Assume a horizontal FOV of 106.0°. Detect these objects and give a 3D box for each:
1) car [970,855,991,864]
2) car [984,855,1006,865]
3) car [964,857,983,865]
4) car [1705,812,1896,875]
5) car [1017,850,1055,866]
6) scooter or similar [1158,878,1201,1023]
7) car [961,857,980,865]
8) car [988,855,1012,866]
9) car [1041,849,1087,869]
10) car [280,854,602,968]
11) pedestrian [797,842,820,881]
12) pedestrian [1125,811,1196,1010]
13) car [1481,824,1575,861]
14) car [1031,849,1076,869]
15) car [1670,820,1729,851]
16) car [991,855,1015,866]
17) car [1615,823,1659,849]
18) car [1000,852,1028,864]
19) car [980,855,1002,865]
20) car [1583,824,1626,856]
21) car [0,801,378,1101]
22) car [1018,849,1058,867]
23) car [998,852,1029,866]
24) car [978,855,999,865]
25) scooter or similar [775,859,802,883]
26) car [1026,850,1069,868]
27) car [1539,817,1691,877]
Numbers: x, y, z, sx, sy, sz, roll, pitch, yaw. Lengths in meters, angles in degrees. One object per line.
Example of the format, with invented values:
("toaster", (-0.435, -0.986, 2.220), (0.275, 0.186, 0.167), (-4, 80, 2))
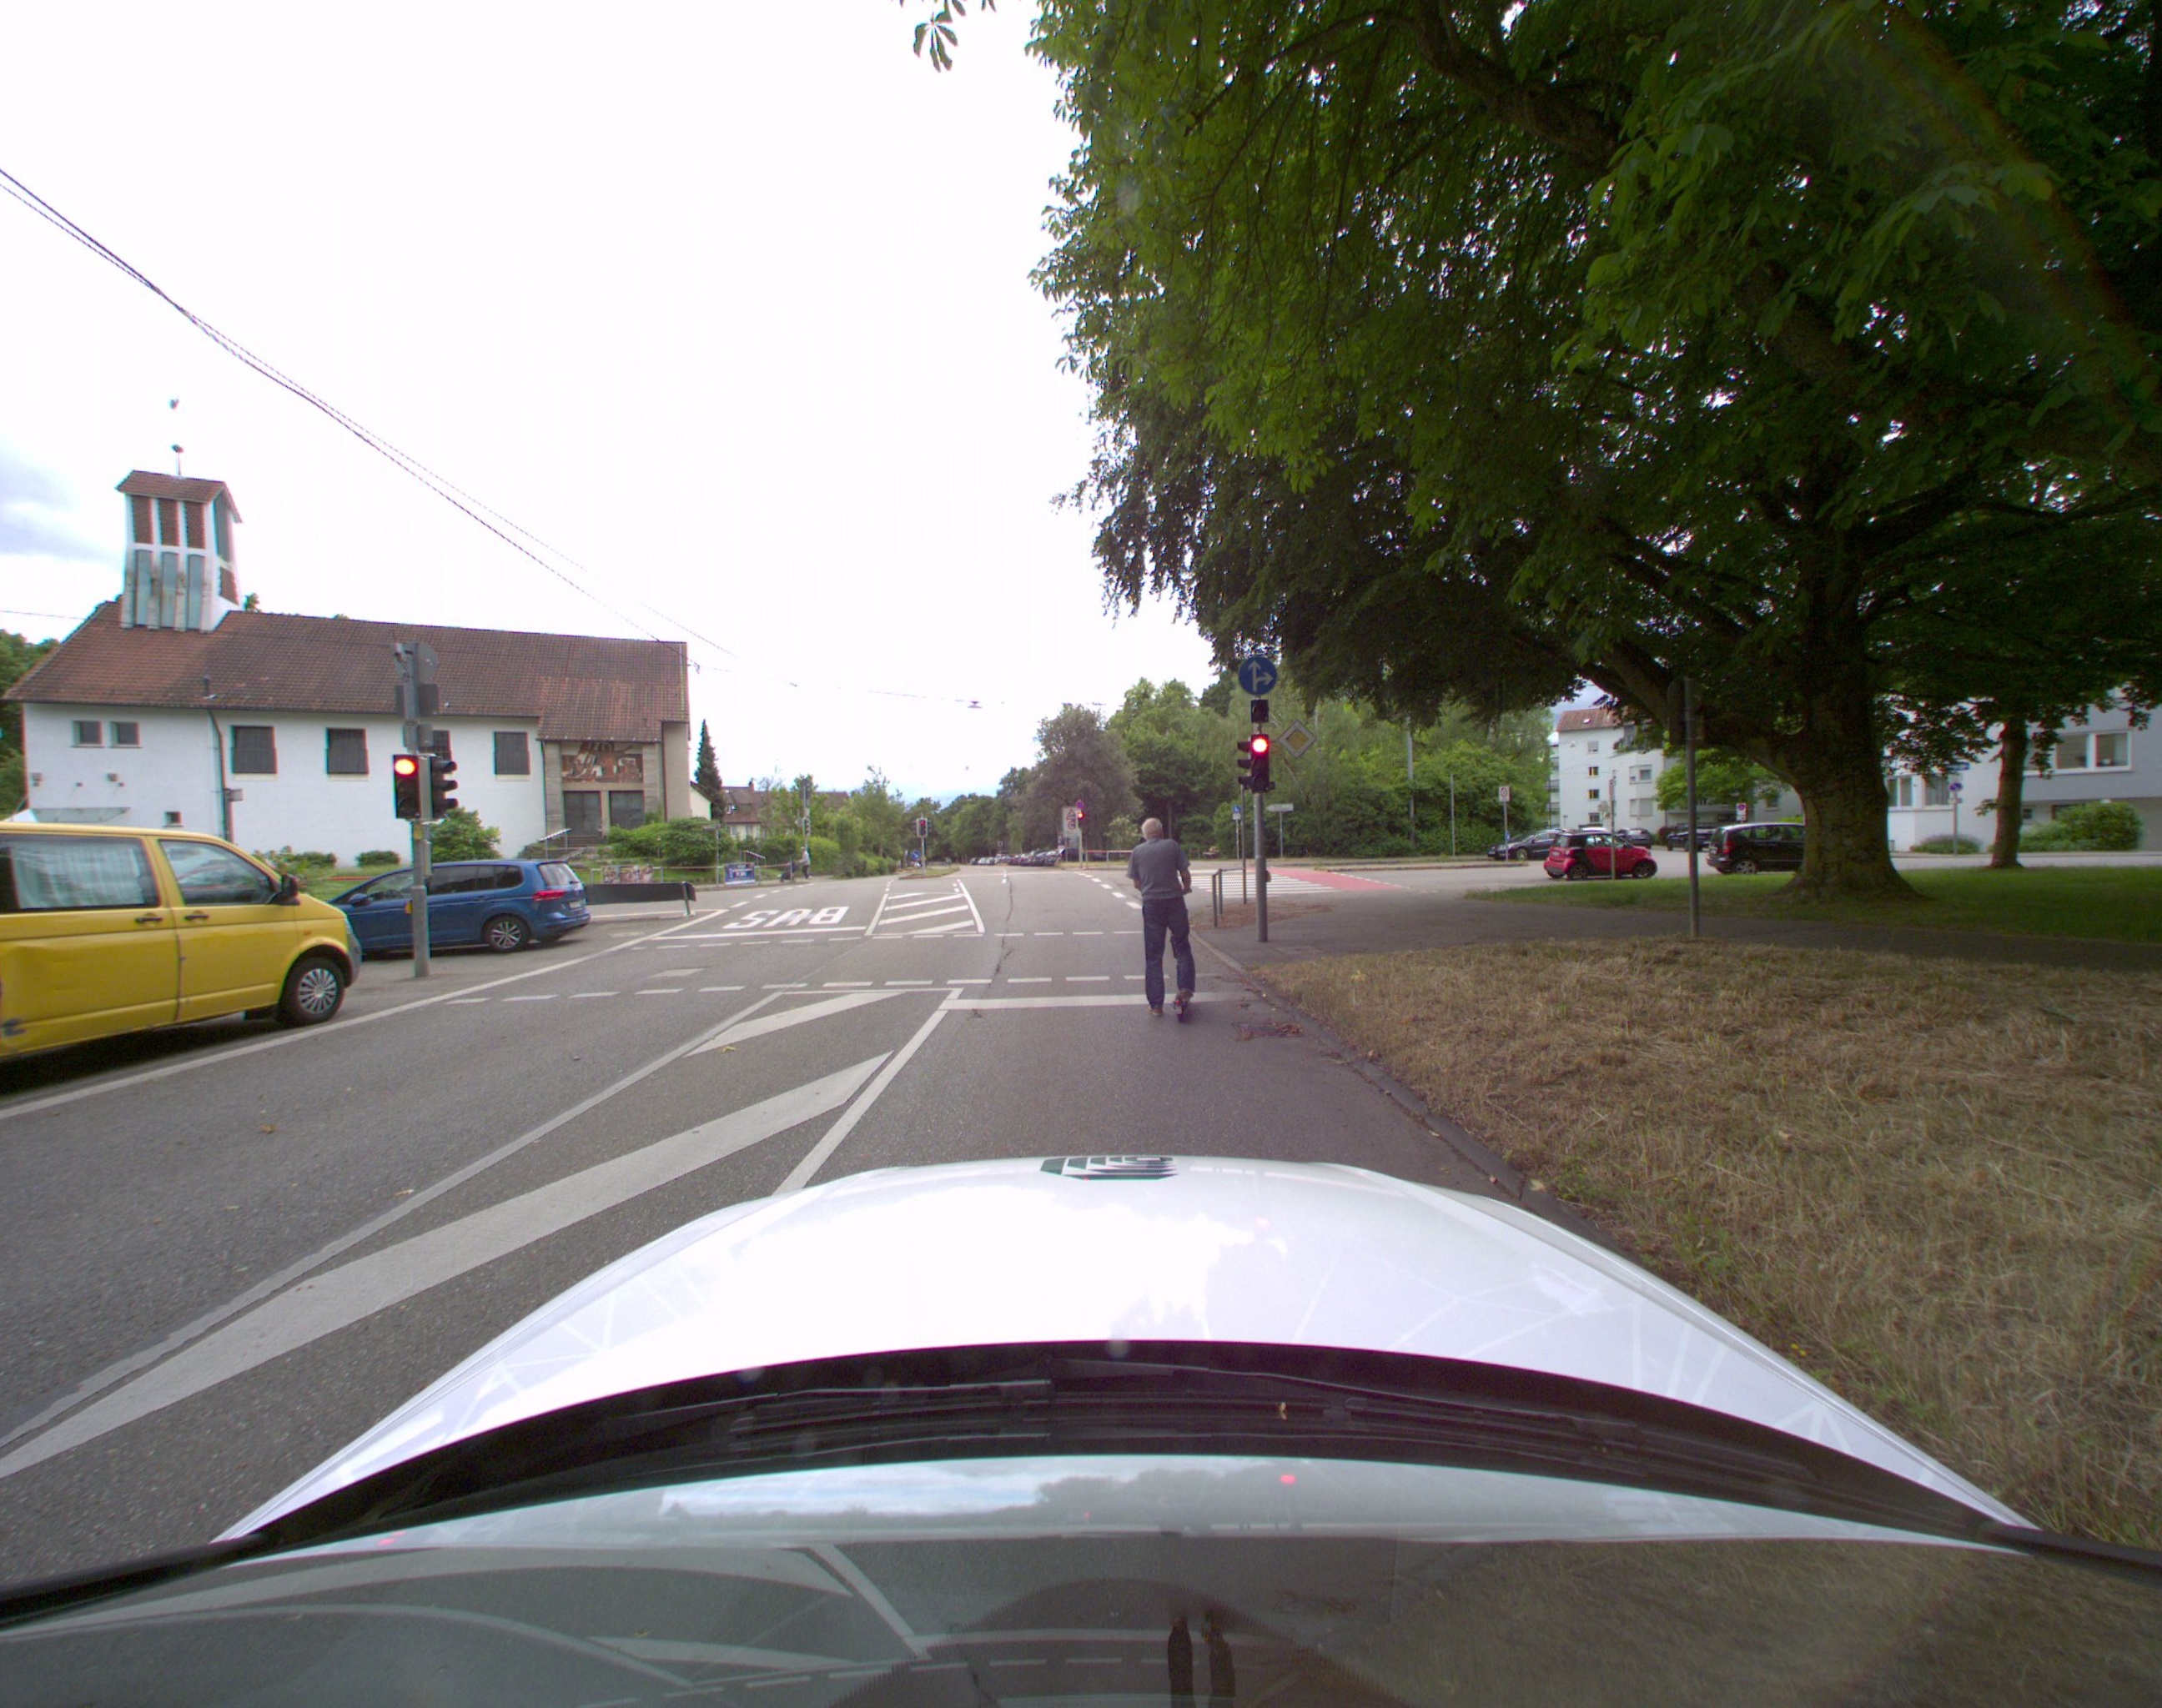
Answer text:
("car", (-20.494, 1.171, 166.575), (3.856, 1.610, 1.716), (-3, 0, -21))
("car", (-16.340, 1.187, 154.697), (3.856, 1.610, 1.716), (-3, 0, -21))
("car", (-23.312, 1.465, 176.442), (3.856, 1.610, 1.716), (-3, 0, -21))
("car", (20.833, -0.298, 23.796), (3.805, 1.610, 1.739), (-3, 1, 27))
("car", (-4.928, 0.439, 89.370), (3.856, 1.610, 1.716), (-3, 0, -21))
("scooter or similar", (0.920, 0.840, 7.489), (0.280, 1.178, 1.180), (-2, 0, 10))
("car", (-24.226, 1.557, 178.803), (3.856, 1.610, 1.716), (-3, 0, -21))
("car", (-14.324, 1.157, 143.335), (3.856, 1.610, 1.716), (-3, 0, -21))
("car", (-1.578, 0.441, 75.006), (3.854, 1.610, 1.717), (-3, 0, -19))
("car", (-11.063, 0.916, 14.421), (3.992, 1.610, 1.810), (-3, 0, -14))
("pedestrian", (-13.366, 0.380, 39.973), (0.889, 1.862, 0.569), (-2, 0, -30))
("pedestrian", (0.756, 0.519, 7.670), (0.569, 1.813, 0.421), (-2, 0, 10))
("car", (21.113, -0.560, 38.597), (3.498, 1.530, 1.732), (-3, 0, 8))
("car", (-2.587, 0.469, 77.002), (3.857, 1.610, 1.715), (-3, 0, -22))
("car", (35.571, -1.069, 46.922), (1.707, 1.610, 3.875), (-3, 1, 22))
("car", (-13.385, 1.148, 139.635), (3.856, 1.610, 1.716), (-3, 0, -21))
("car", (38.958, -1.276, 57.132), (1.707, 1.610, 3.875), (-3, 1, 22))
("car", (-10.120, 0.646, 122.350), (3.856, 1.610, 1.716), (-3, 0, -21))
("car", (-17.318, 1.150, 156.855), (3.856, 1.610, 1.716), (-3, 0, -21))
("car", (28.788, -0.788, 44.888), (1.706, 1.610, 3.878), (-3, 1, 30))
("car", (-8.298, 0.682, 6.336), (1.880, 2.013, 4.558), (-2, 0, -5))
("car", (-4.596, 0.432, 86.948), (3.856, 1.610, 1.716), (-3, 0, -21))
("car", (-9.047, 0.691, 109.346), (3.856, 1.610, 1.716), (-3, 0, -21))
("car", (-18.144, 1.156, 159.447), (3.856, 1.610, 1.716), (-3, 0, -21))
("scooter or similar", (-14.163, 0.811, 39.449), (1.115, 1.081, 0.572), (-2, 0, -33))
("car", (-3.274, 0.479, 79.562), (3.856, 1.610, 1.716), (-3, 0, -21))
("car", (16.527, -0.209, 25.354), (3.499, 1.610, 1.732), (-3, 0, 7))
